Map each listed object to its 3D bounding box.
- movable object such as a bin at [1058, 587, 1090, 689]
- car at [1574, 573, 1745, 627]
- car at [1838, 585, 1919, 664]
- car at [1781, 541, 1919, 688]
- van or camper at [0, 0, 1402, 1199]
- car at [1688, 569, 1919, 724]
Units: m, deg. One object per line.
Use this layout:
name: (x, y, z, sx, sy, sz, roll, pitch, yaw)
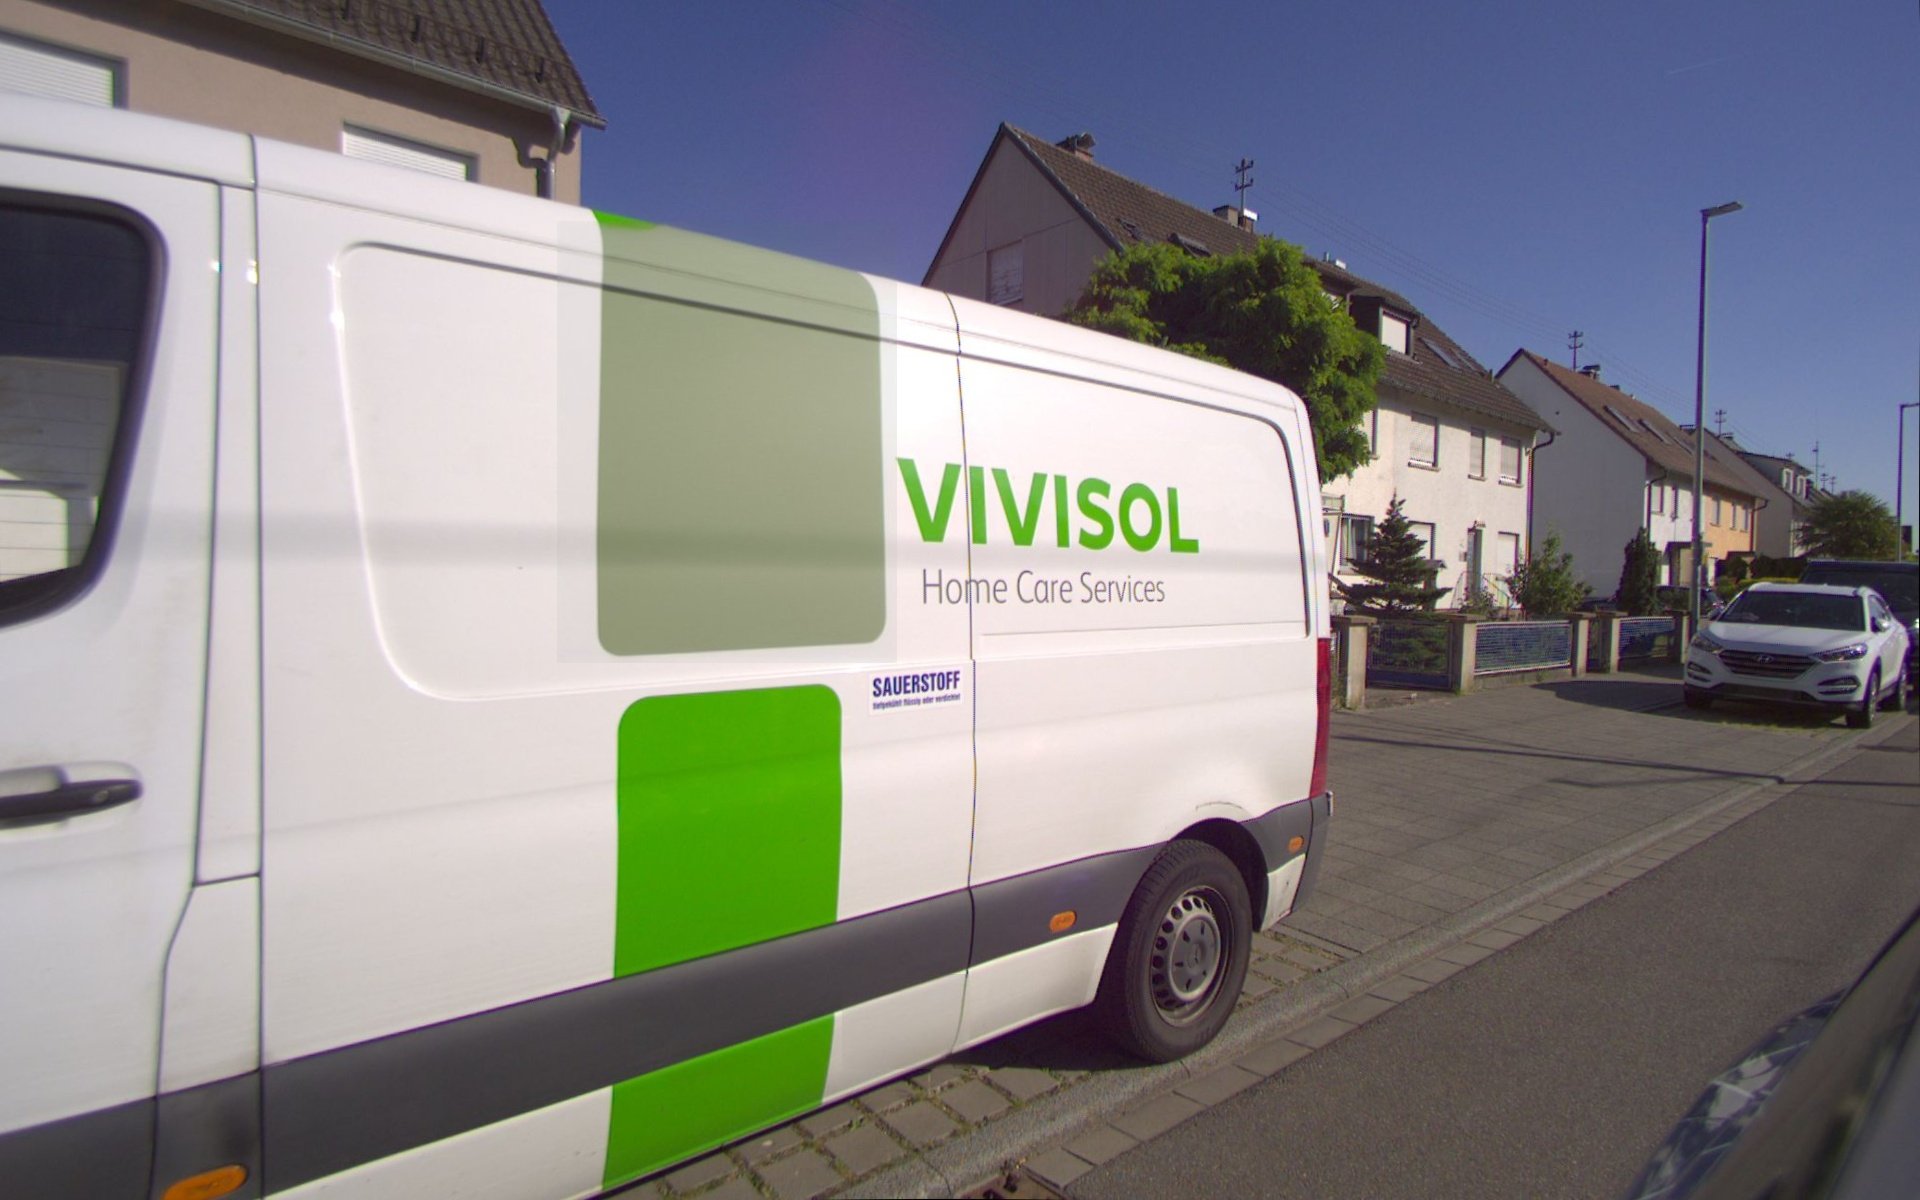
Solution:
movable object such as a bin: (1.262, 0.413, 11.210, 0.276, 1.109, 0.328, 0, 1, 20)
car: (23.524, -0.062, 34.159, 2.160, 1.675, 4.419, -1, 2, -43)
car: (20.501, 0.466, 21.503, 5.513, 1.461, 1.857, 0, 4, -40)
car: (15.792, 0.160, 17.164, 5.242, 2.170, 1.964, -1, 3, -41)
van or camper: (-1.347, 0.210, 2.622, 6.194, 2.298, 1.998, -1, 4, -40)
car: (11.206, 0.470, 13.242, 4.243, 1.665, 1.729, -1, 4, -41)
